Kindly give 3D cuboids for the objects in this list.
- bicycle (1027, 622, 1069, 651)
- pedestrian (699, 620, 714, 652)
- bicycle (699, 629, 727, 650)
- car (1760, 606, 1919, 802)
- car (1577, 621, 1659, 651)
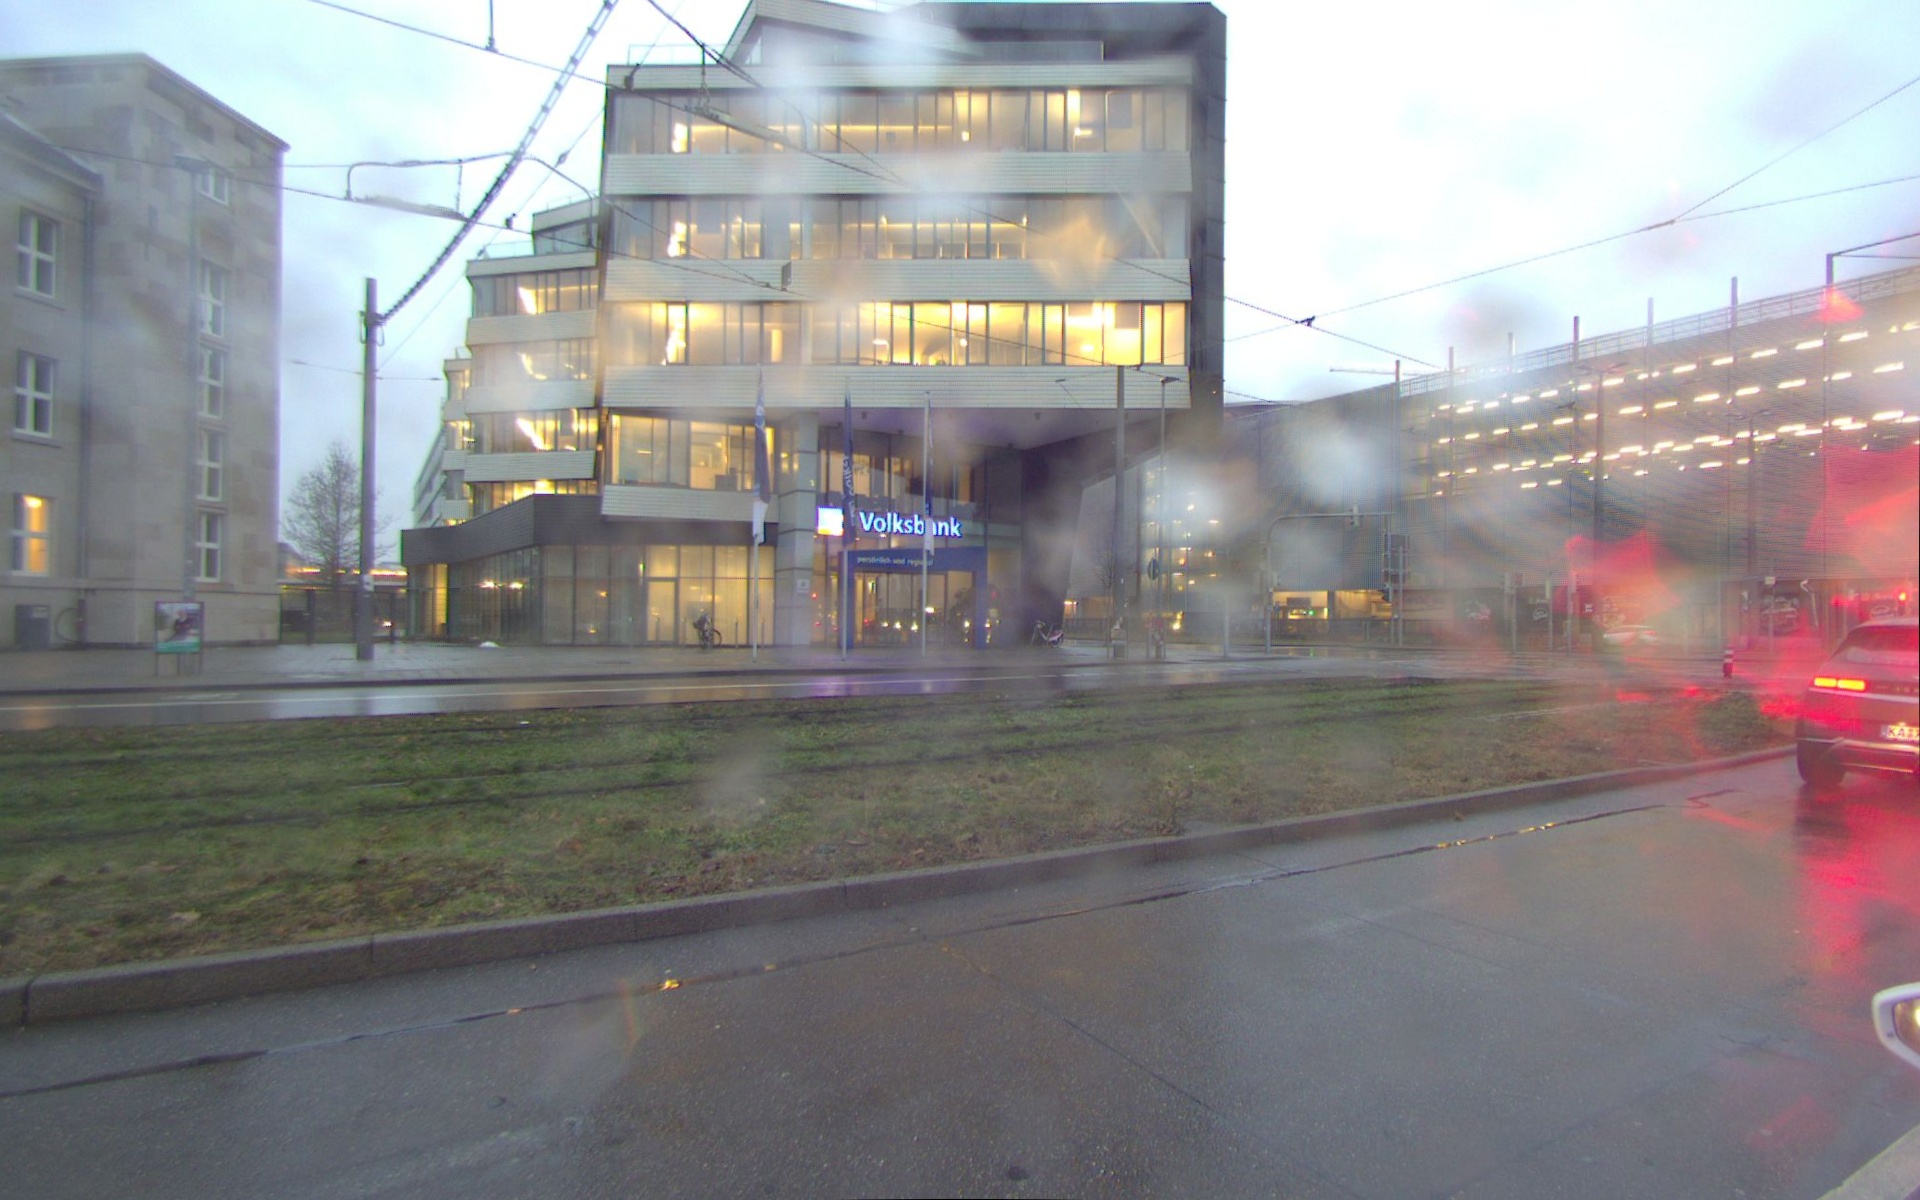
[{"bbox_3d":[3.518,1.456,40.105,1.588,1.105,0.553,1,-1,-23],"label":"bicycle"},{"bbox_3d":[-8.669,1.222,34.348,0.380,1.103,0.325,0,-1,5],"label":"pedestrian"},{"bbox_3d":[-8.625,1.366,35.061,0.896,0.724,0.483,1,-1,-10],"label":"bicycle"},{"bbox_3d":[9.334,0.892,9.459,3.959,1.595,1.742,1,-1,-34],"label":"car"},{"bbox_3d":[41.684,2.241,63.719,1.720,1.640,3.961,0,1,-34],"label":"car"}]
